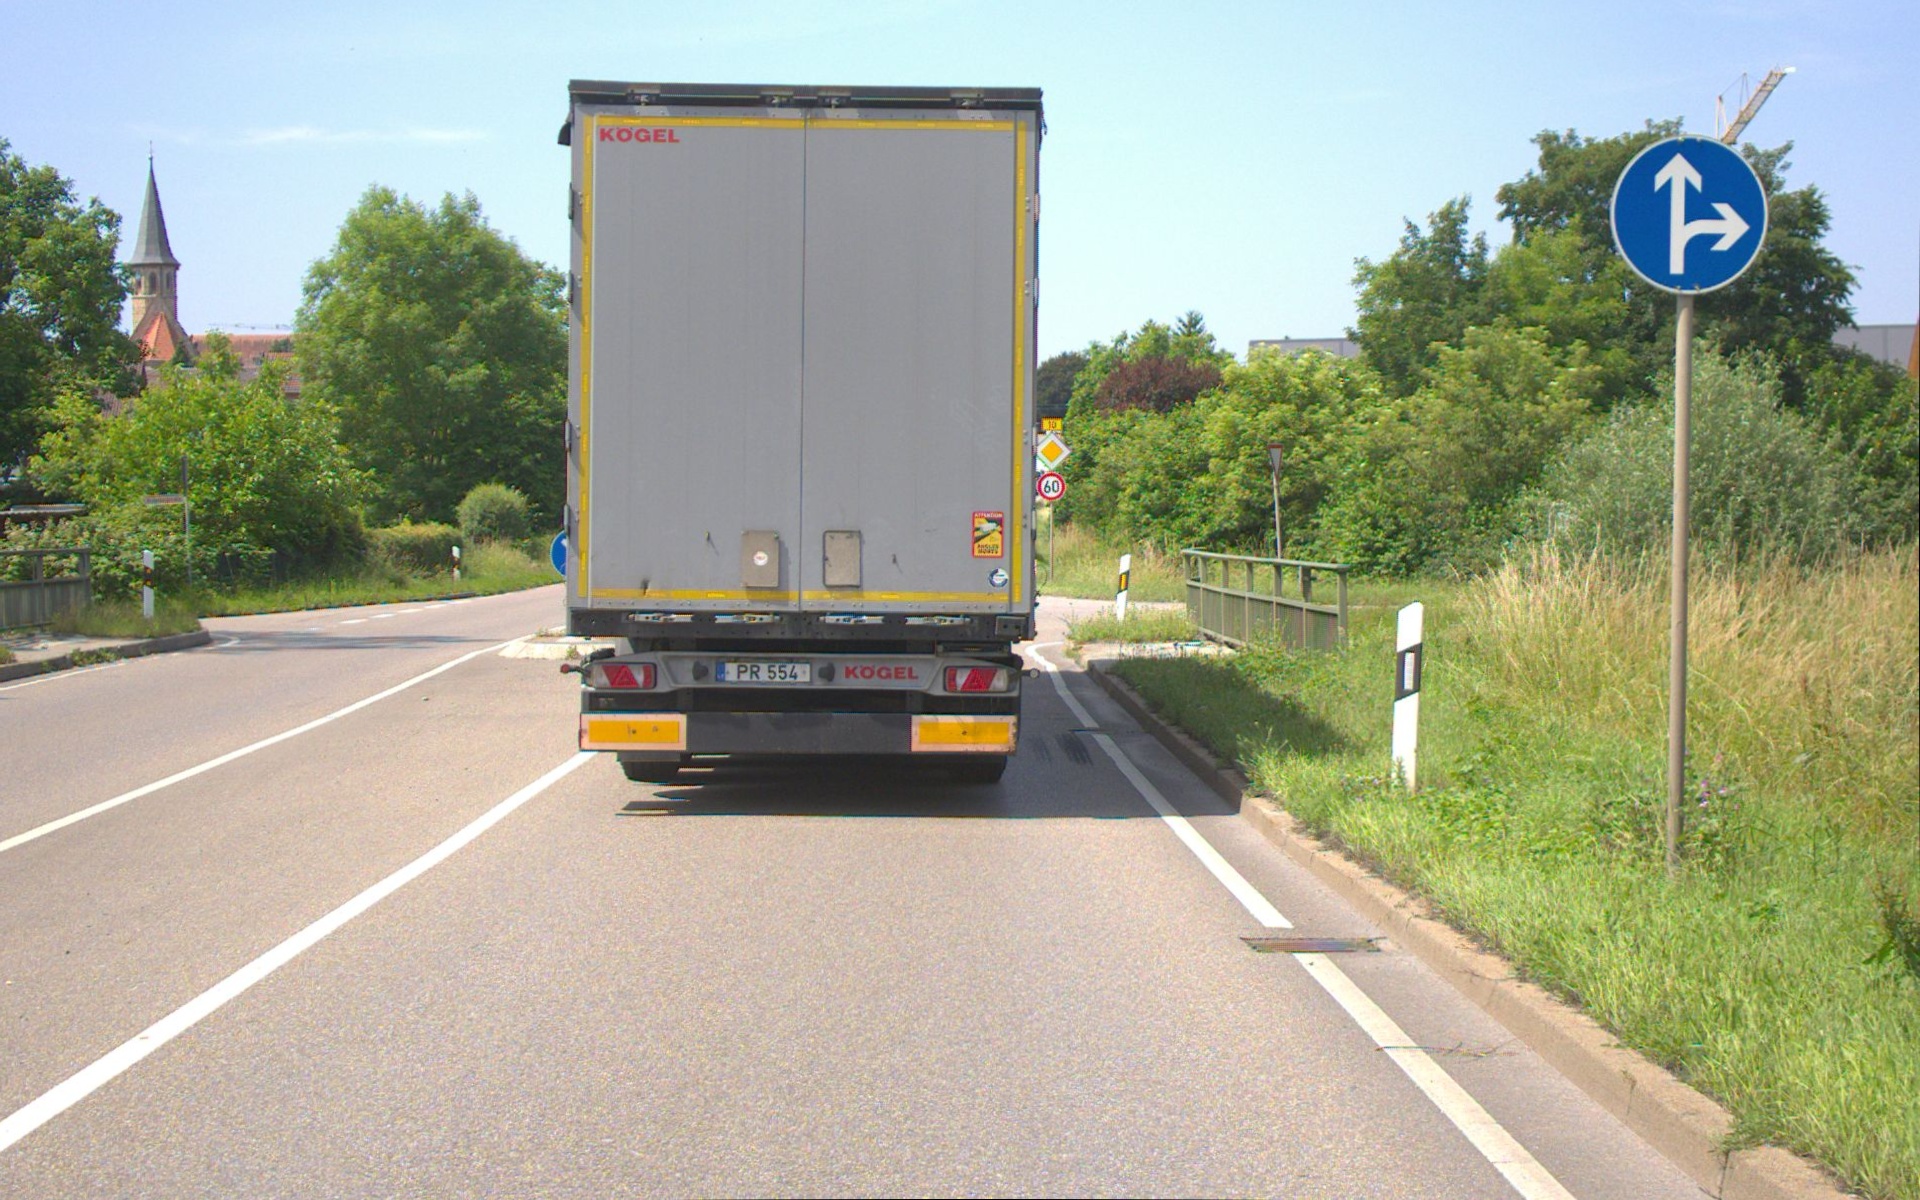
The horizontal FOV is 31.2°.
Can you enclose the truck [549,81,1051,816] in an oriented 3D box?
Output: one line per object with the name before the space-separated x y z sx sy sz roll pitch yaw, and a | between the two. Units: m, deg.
truck | -1.022 -0.891 22.823 2.647 3.903 8.826 1 1 -2
